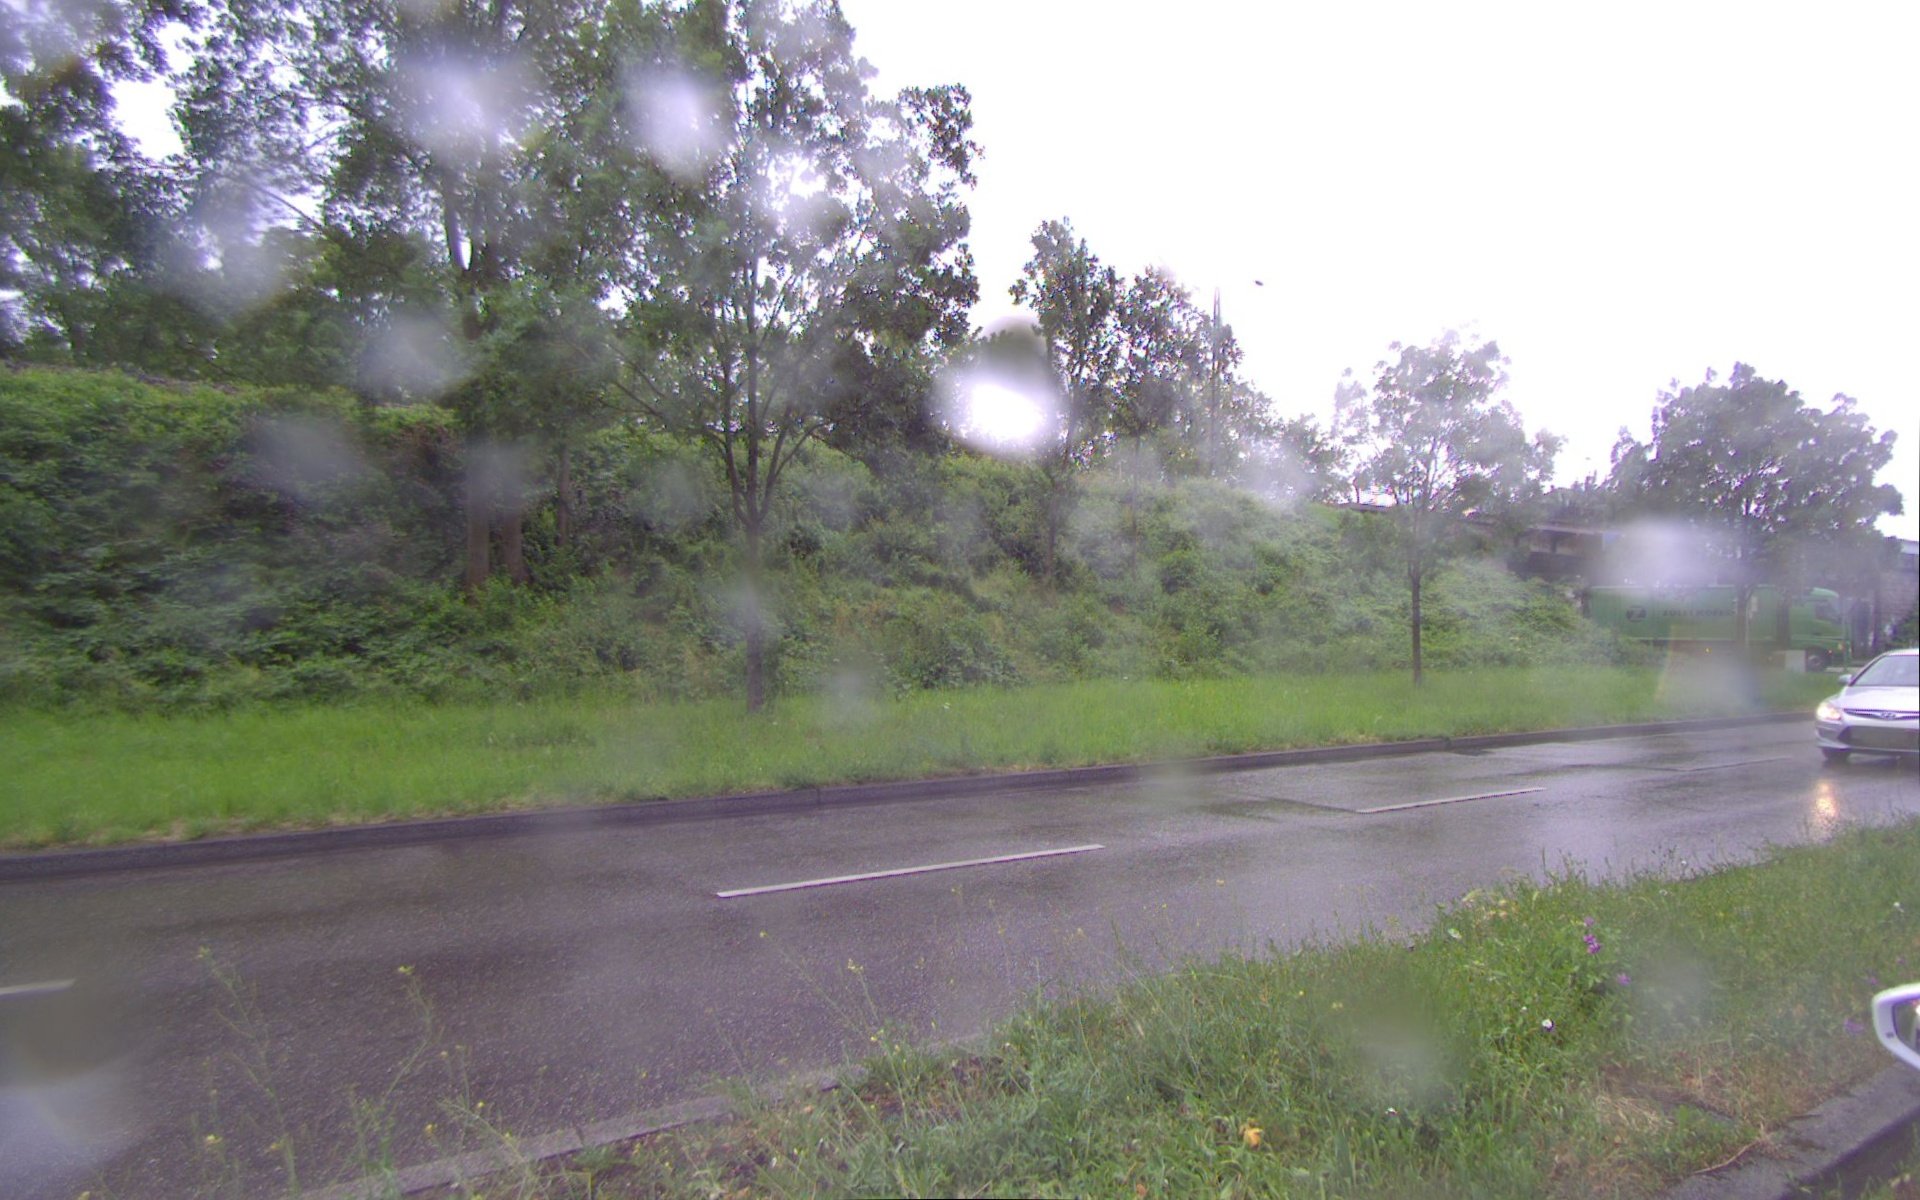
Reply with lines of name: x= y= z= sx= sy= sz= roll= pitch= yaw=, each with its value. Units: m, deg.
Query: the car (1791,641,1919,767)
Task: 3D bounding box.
car: x=12.798 y=1.284 z=13.090 sx=3.954 sy=1.481 sz=1.807 roll=2 pitch=-4 yaw=-31

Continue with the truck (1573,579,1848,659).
truck: x=34.220 y=0.824 z=46.357 sx=9.872 sy=3.416 sz=2.346 roll=0 pitch=-1 yaw=25
